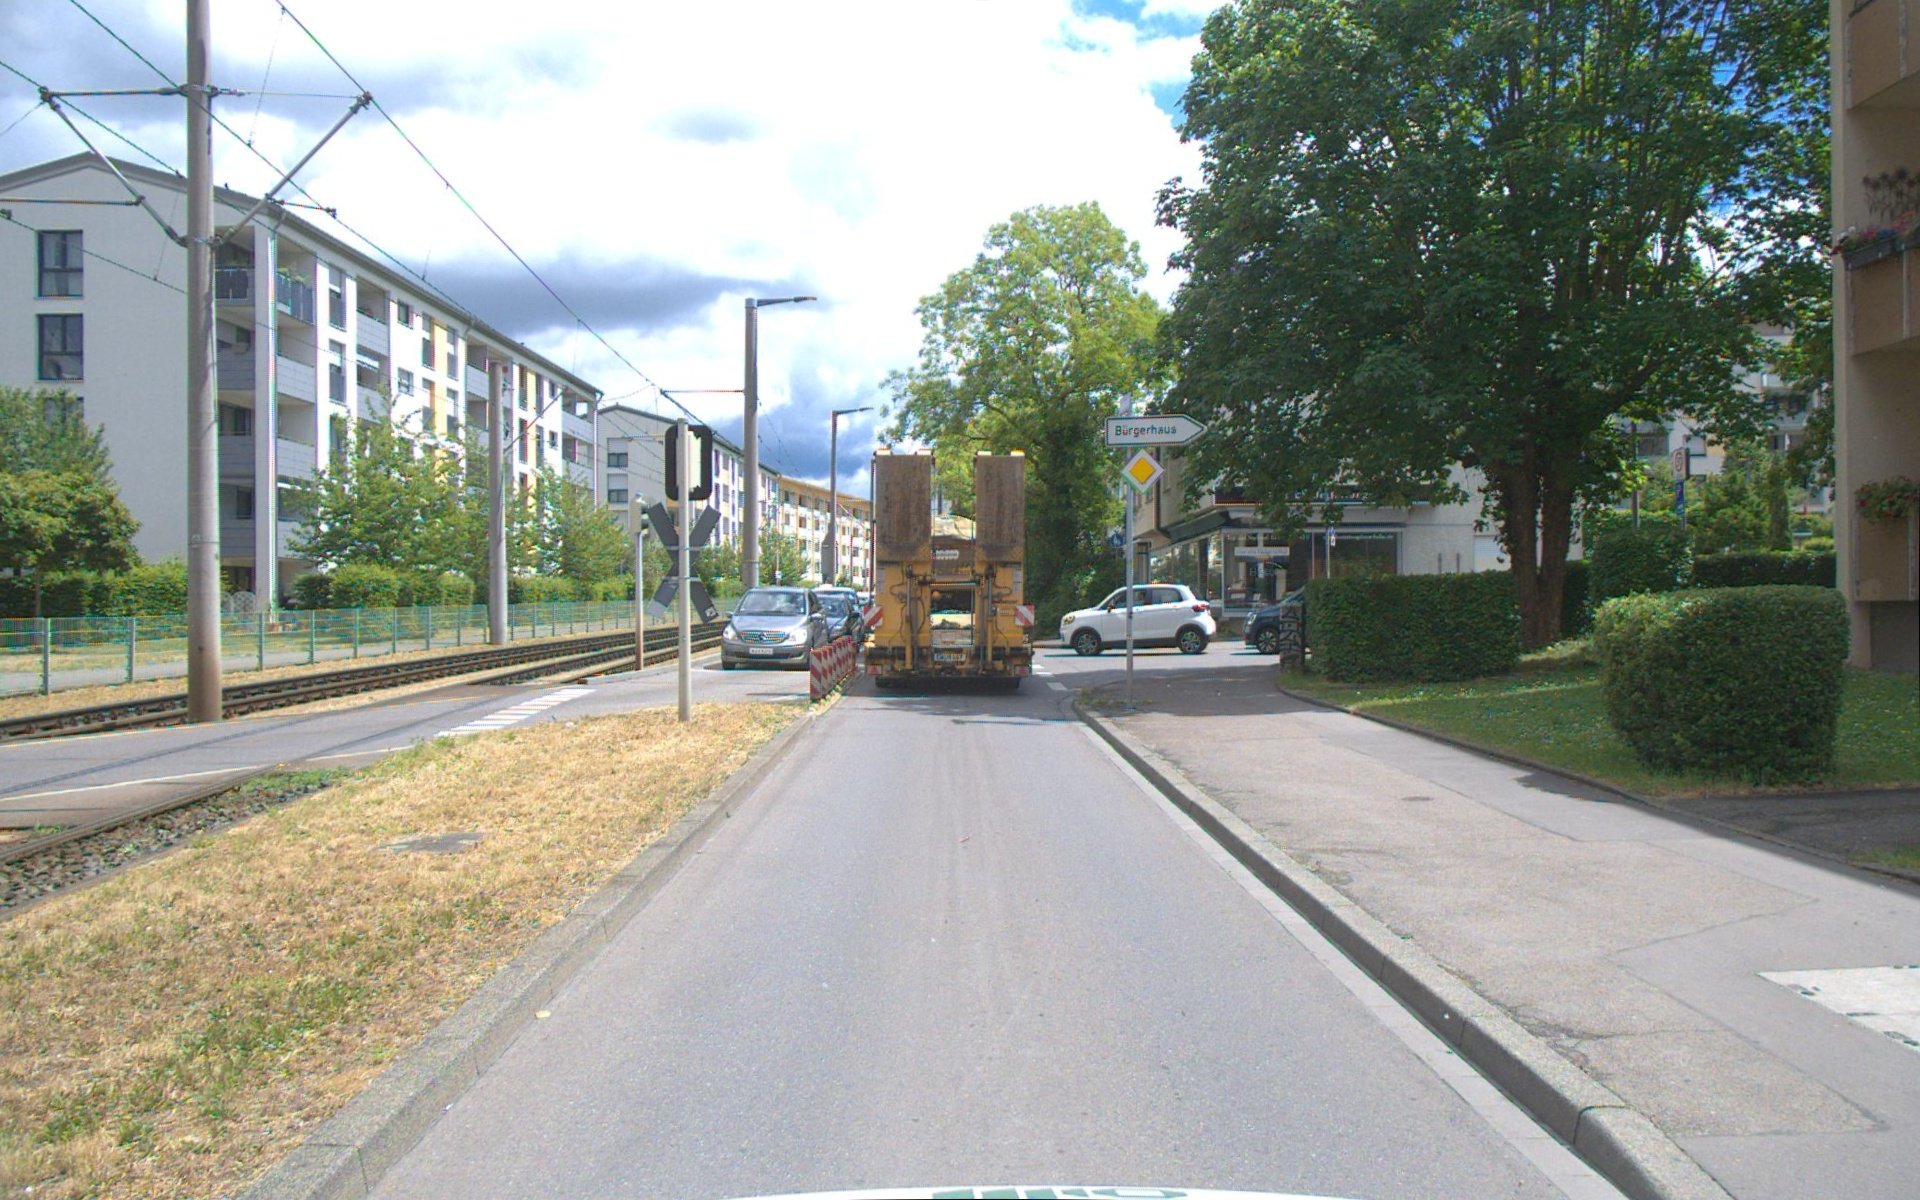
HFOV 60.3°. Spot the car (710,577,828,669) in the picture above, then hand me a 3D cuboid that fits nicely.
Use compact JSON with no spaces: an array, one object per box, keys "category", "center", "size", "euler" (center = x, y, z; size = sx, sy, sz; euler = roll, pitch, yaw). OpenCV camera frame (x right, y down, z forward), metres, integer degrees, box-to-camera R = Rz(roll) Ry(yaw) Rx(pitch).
[{"category":"car","center":[-3.764,0.436,33.244],"size":[1.765,1.681,4.132],"euler":[-2,0,1]}]

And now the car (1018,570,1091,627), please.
[{"category":"car","center":[2.932,-0.080,52.070],"size":[1.953,1.646,3.999],"euler":[-2,1,-2]}]

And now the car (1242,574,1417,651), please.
[{"category":"car","center":[8.178,0.261,36.456],"size":[3.619,1.549,2.002],"euler":[-1,1,16]}]

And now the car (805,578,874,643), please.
[{"category":"car","center":[-3.444,0.294,47.794],"size":[1.568,1.762,3.939],"euler":[-2,0,1]}]

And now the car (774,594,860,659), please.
[{"category":"car","center":[-3.321,0.595,39.026],"size":[1.568,1.405,3.957],"euler":[-2,0,1]}]

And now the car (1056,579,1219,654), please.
[{"category":"car","center":[4.094,0.367,37.876],"size":[3.521,1.612,2.002],"euler":[-1,0,11]}]

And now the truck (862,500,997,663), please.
[{"category":"truck","center":[-0.880,-0.497,39.049],"size":[2.777,3.388,7.980],"euler":[-2,1,-3]}]

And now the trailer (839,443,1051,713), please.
[{"category":"trailer","center":[-0.494,-0.467,29.854],"size":[2.990,3.838,11.607],"euler":[-2,1,-3]}]

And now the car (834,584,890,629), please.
[{"category":"car","center":[-3.728,0.235,63.485],"size":[1.953,1.546,3.890],"euler":[-2,1,-2]}]

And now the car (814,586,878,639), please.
[{"category":"car","center":[-3.823,0.385,55.883],"size":[1.953,1.621,3.890],"euler":[-2,1,-2]}]
